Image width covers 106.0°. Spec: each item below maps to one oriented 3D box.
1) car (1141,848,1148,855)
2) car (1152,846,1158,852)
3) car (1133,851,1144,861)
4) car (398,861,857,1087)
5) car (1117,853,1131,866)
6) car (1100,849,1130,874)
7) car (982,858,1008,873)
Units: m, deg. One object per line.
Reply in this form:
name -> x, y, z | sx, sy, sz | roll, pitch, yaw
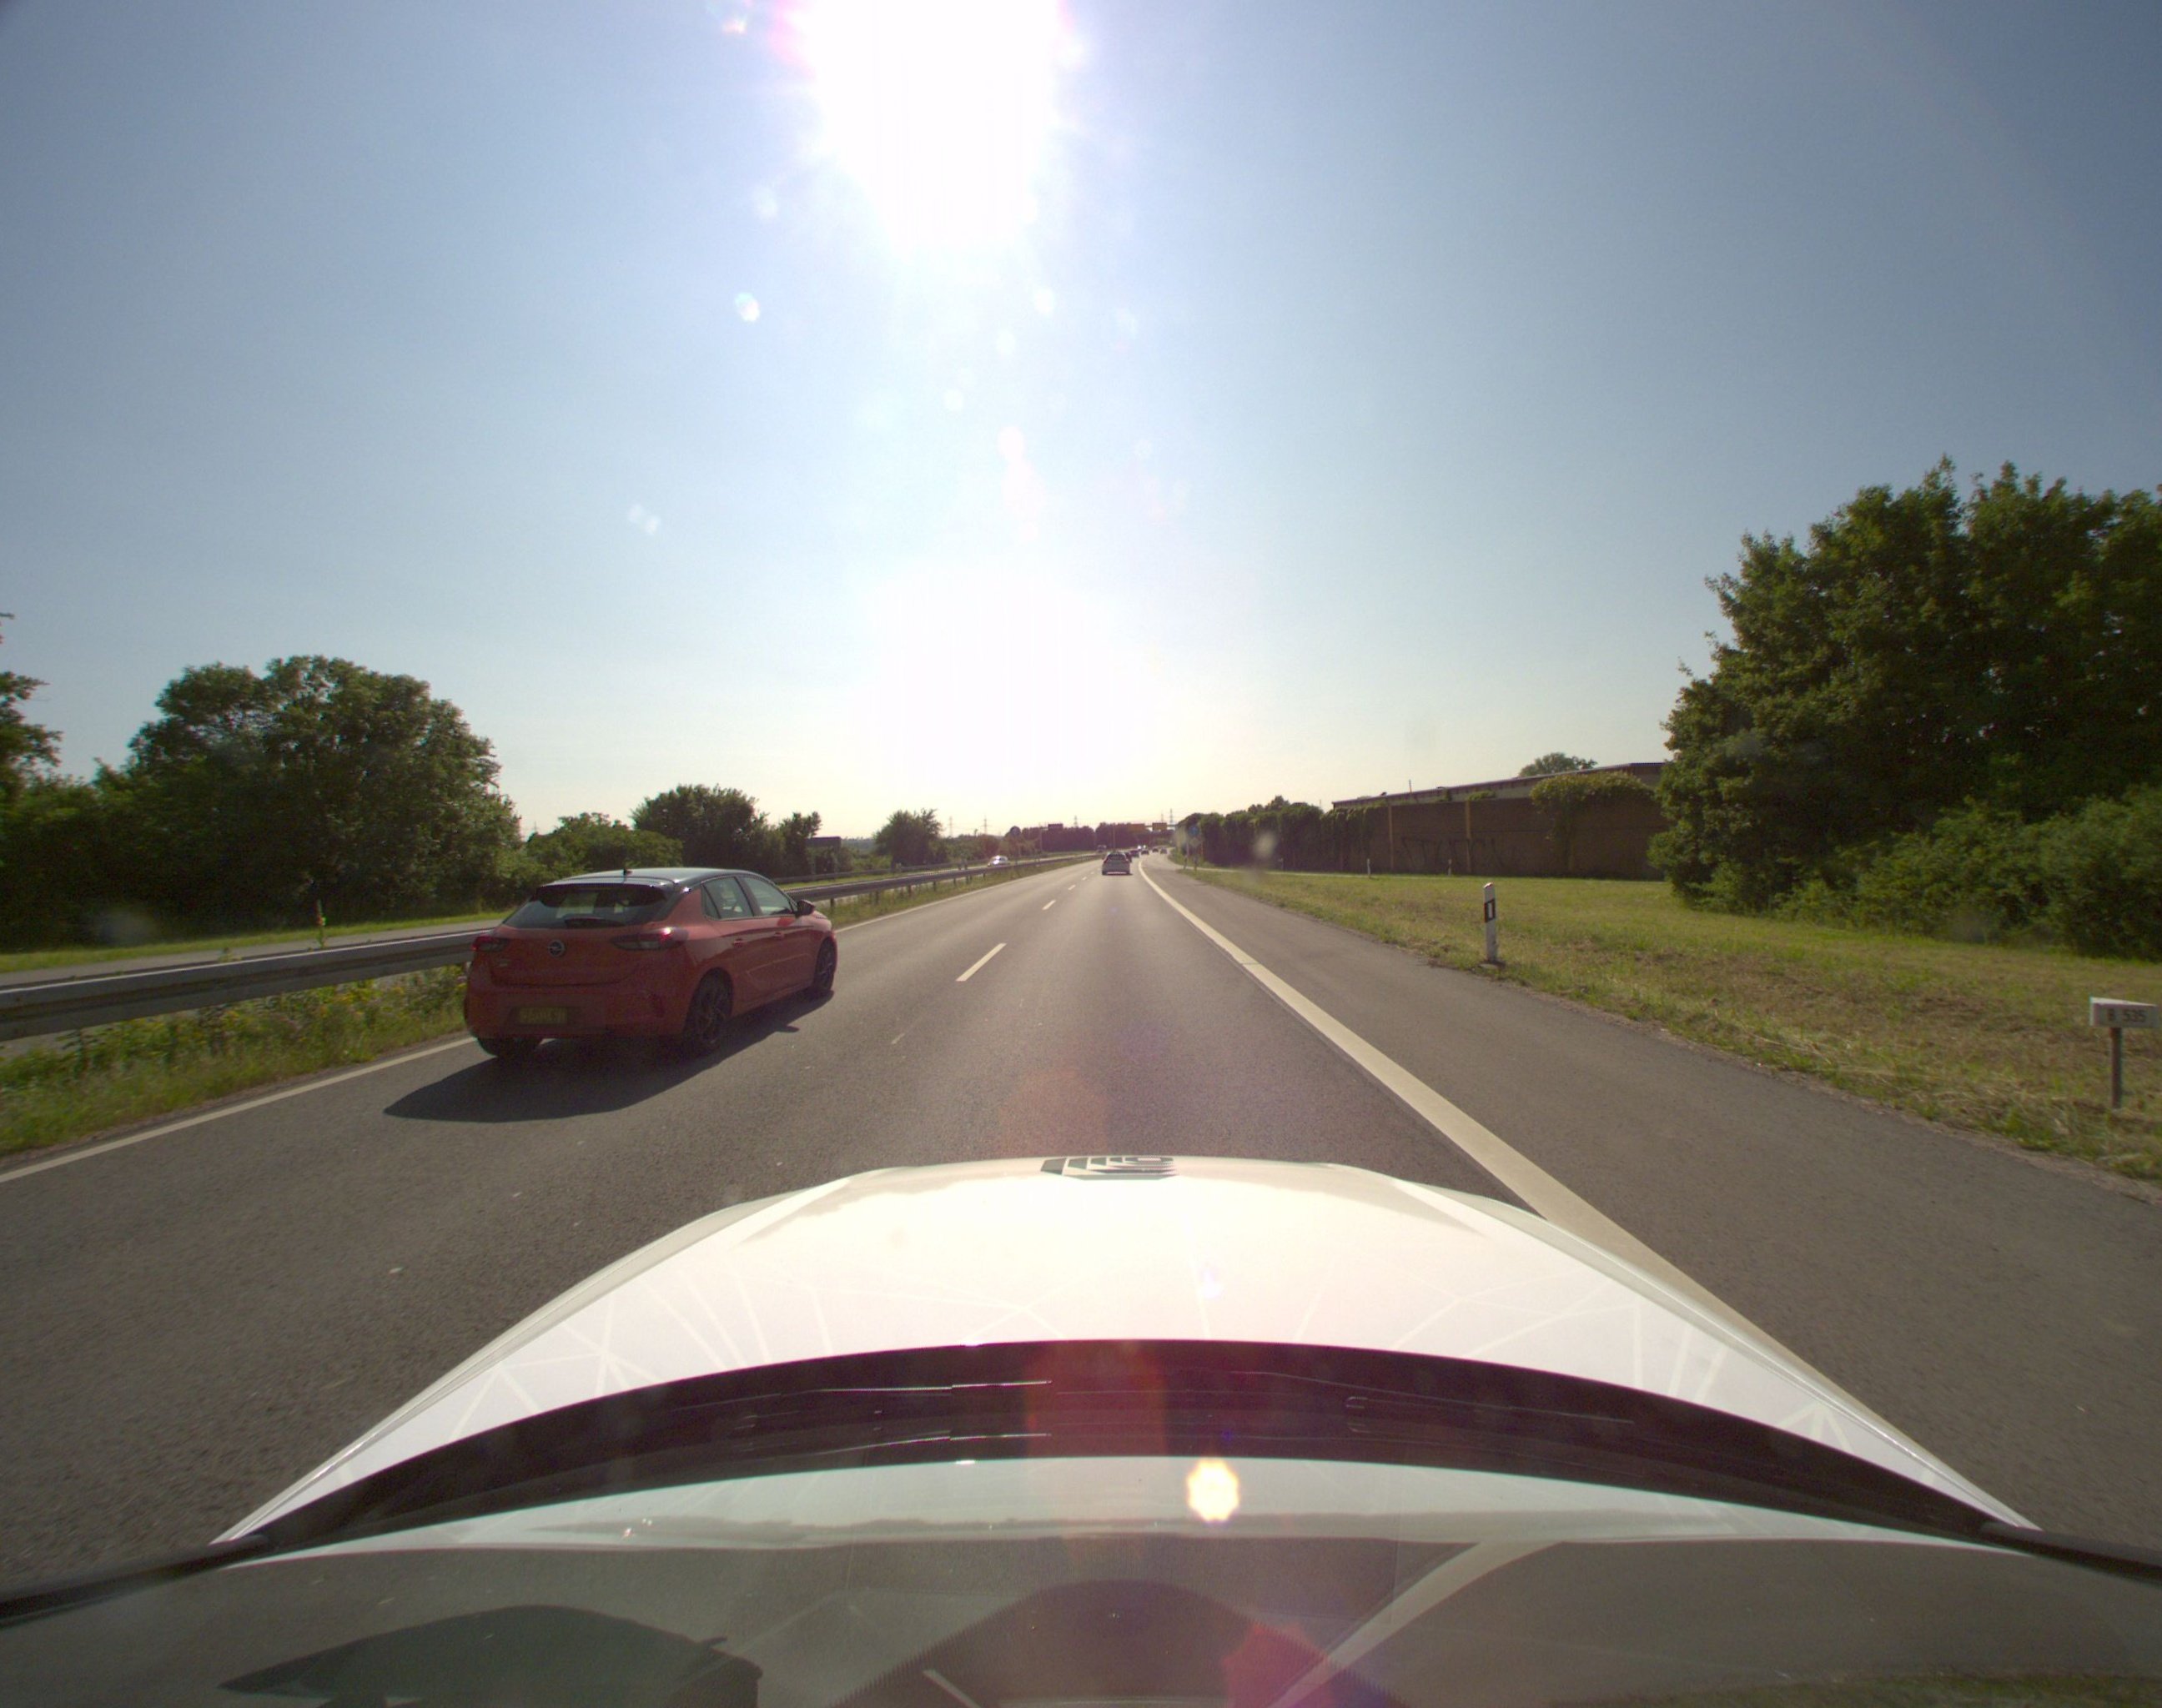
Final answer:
car -> 15.549, -0.570, 199.378 | 1.832, 1.802, 4.005 | -1, 0, 5
car -> 22.322, -1.594, 245.468 | 1.831, 1.698, 4.009 | -1, 0, 7
car -> 10.473, 0.321, 148.848 | 1.759, 1.736, 3.640 | -1, 0, 8
car -> -3.620, 0.816, 7.614 | 1.703, 1.437, 4.412 | -2, 0, 1
car -> 5.421, 0.644, 102.280 | 1.785, 1.543, 3.675 | -1, 0, 4
car -> 2.294, 0.475, 55.051 | 1.950, 1.601, 4.110 | 0, 1, 2
car -> -8.430, 1.120, 80.227 | 1.793, 1.420, 4.679 | 0, 0, 3
